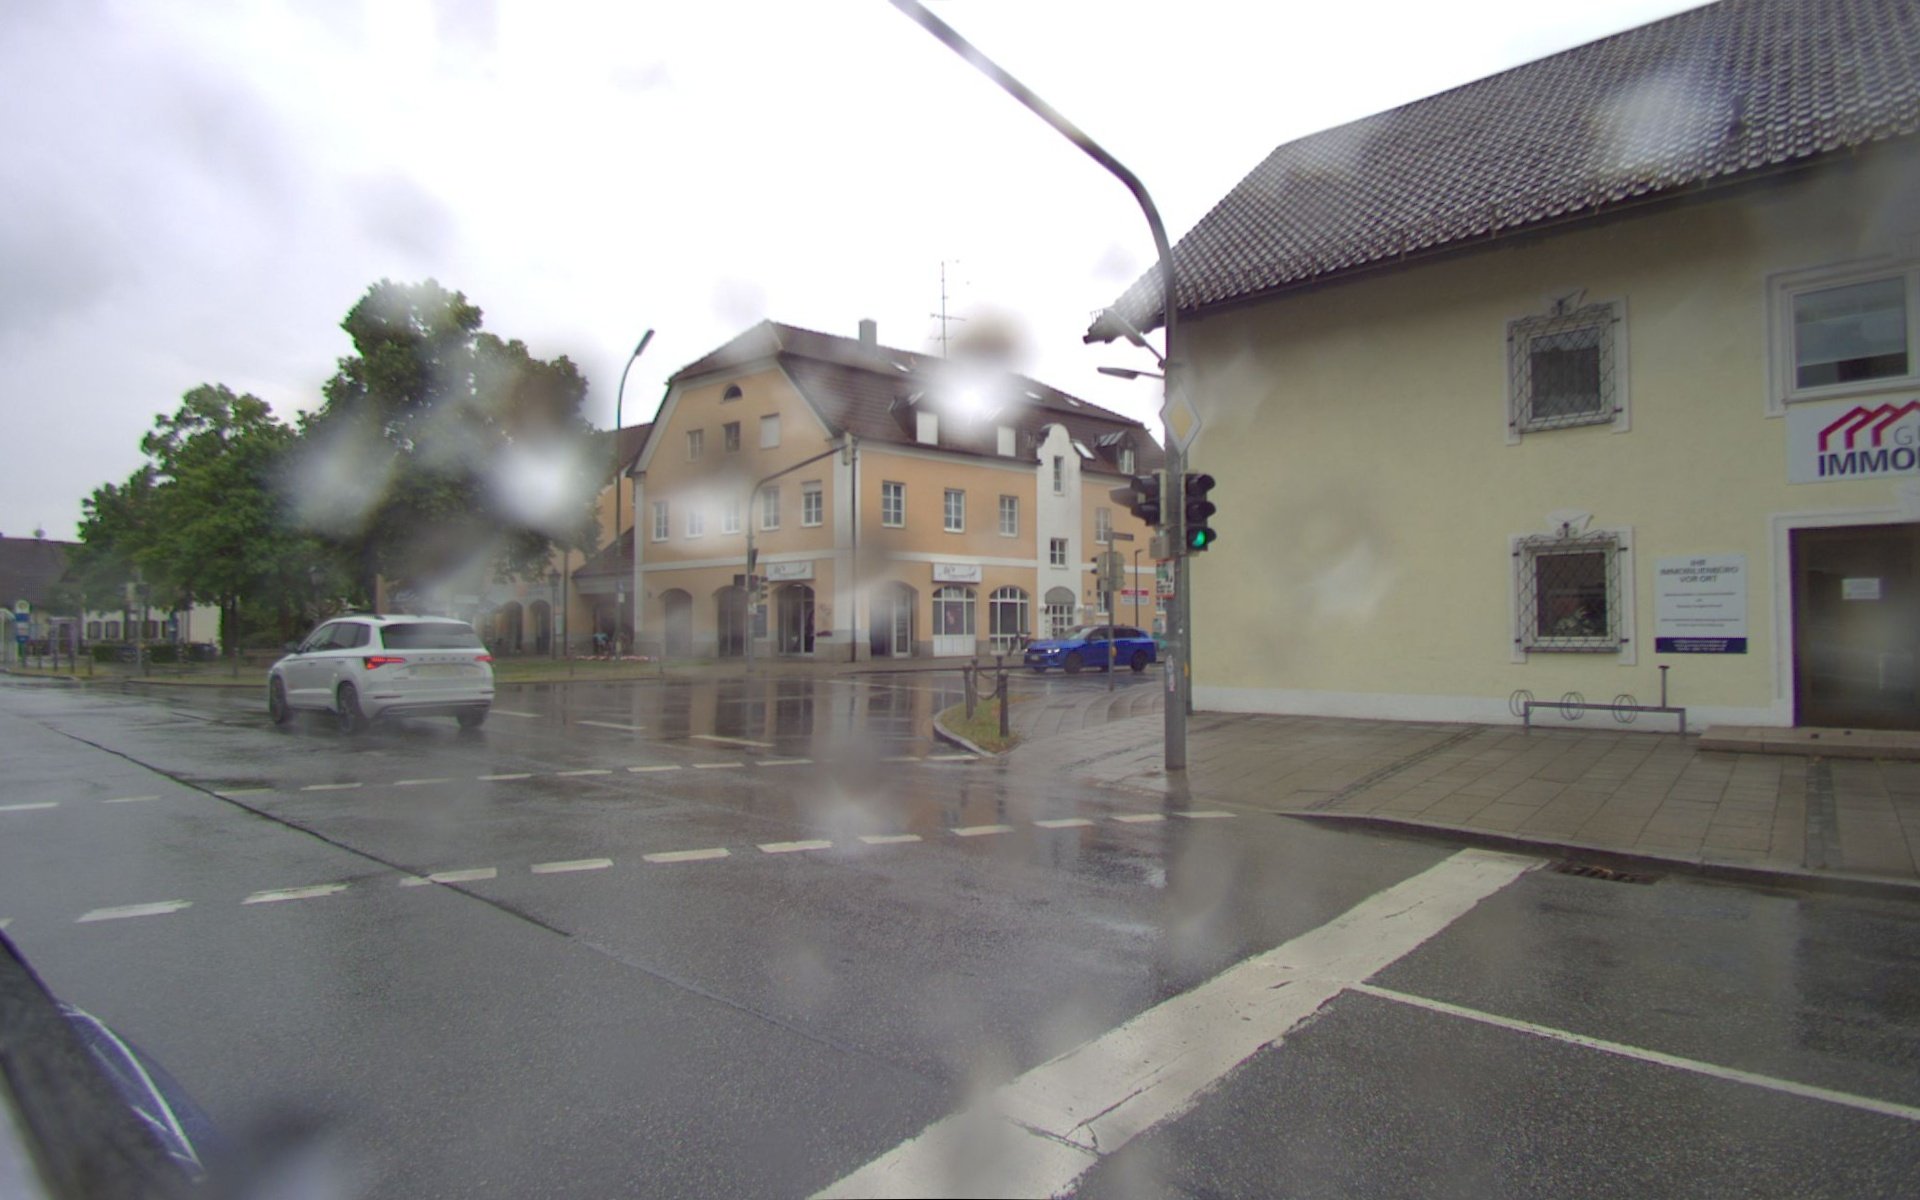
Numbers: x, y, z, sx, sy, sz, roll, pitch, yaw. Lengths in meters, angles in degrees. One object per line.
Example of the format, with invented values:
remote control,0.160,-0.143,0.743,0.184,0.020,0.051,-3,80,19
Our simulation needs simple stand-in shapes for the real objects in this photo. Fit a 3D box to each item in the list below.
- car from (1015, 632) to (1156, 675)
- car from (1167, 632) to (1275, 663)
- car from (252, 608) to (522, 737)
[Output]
car,3.893,1.611,31.173,4.288,1.194,1.693,1,-2,-35
car,9.232,1.657,35.681,4.006,1.025,1.427,1,-2,-35
car,-8.264,0.955,14.472,4.147,1.575,1.948,-1,-3,39
